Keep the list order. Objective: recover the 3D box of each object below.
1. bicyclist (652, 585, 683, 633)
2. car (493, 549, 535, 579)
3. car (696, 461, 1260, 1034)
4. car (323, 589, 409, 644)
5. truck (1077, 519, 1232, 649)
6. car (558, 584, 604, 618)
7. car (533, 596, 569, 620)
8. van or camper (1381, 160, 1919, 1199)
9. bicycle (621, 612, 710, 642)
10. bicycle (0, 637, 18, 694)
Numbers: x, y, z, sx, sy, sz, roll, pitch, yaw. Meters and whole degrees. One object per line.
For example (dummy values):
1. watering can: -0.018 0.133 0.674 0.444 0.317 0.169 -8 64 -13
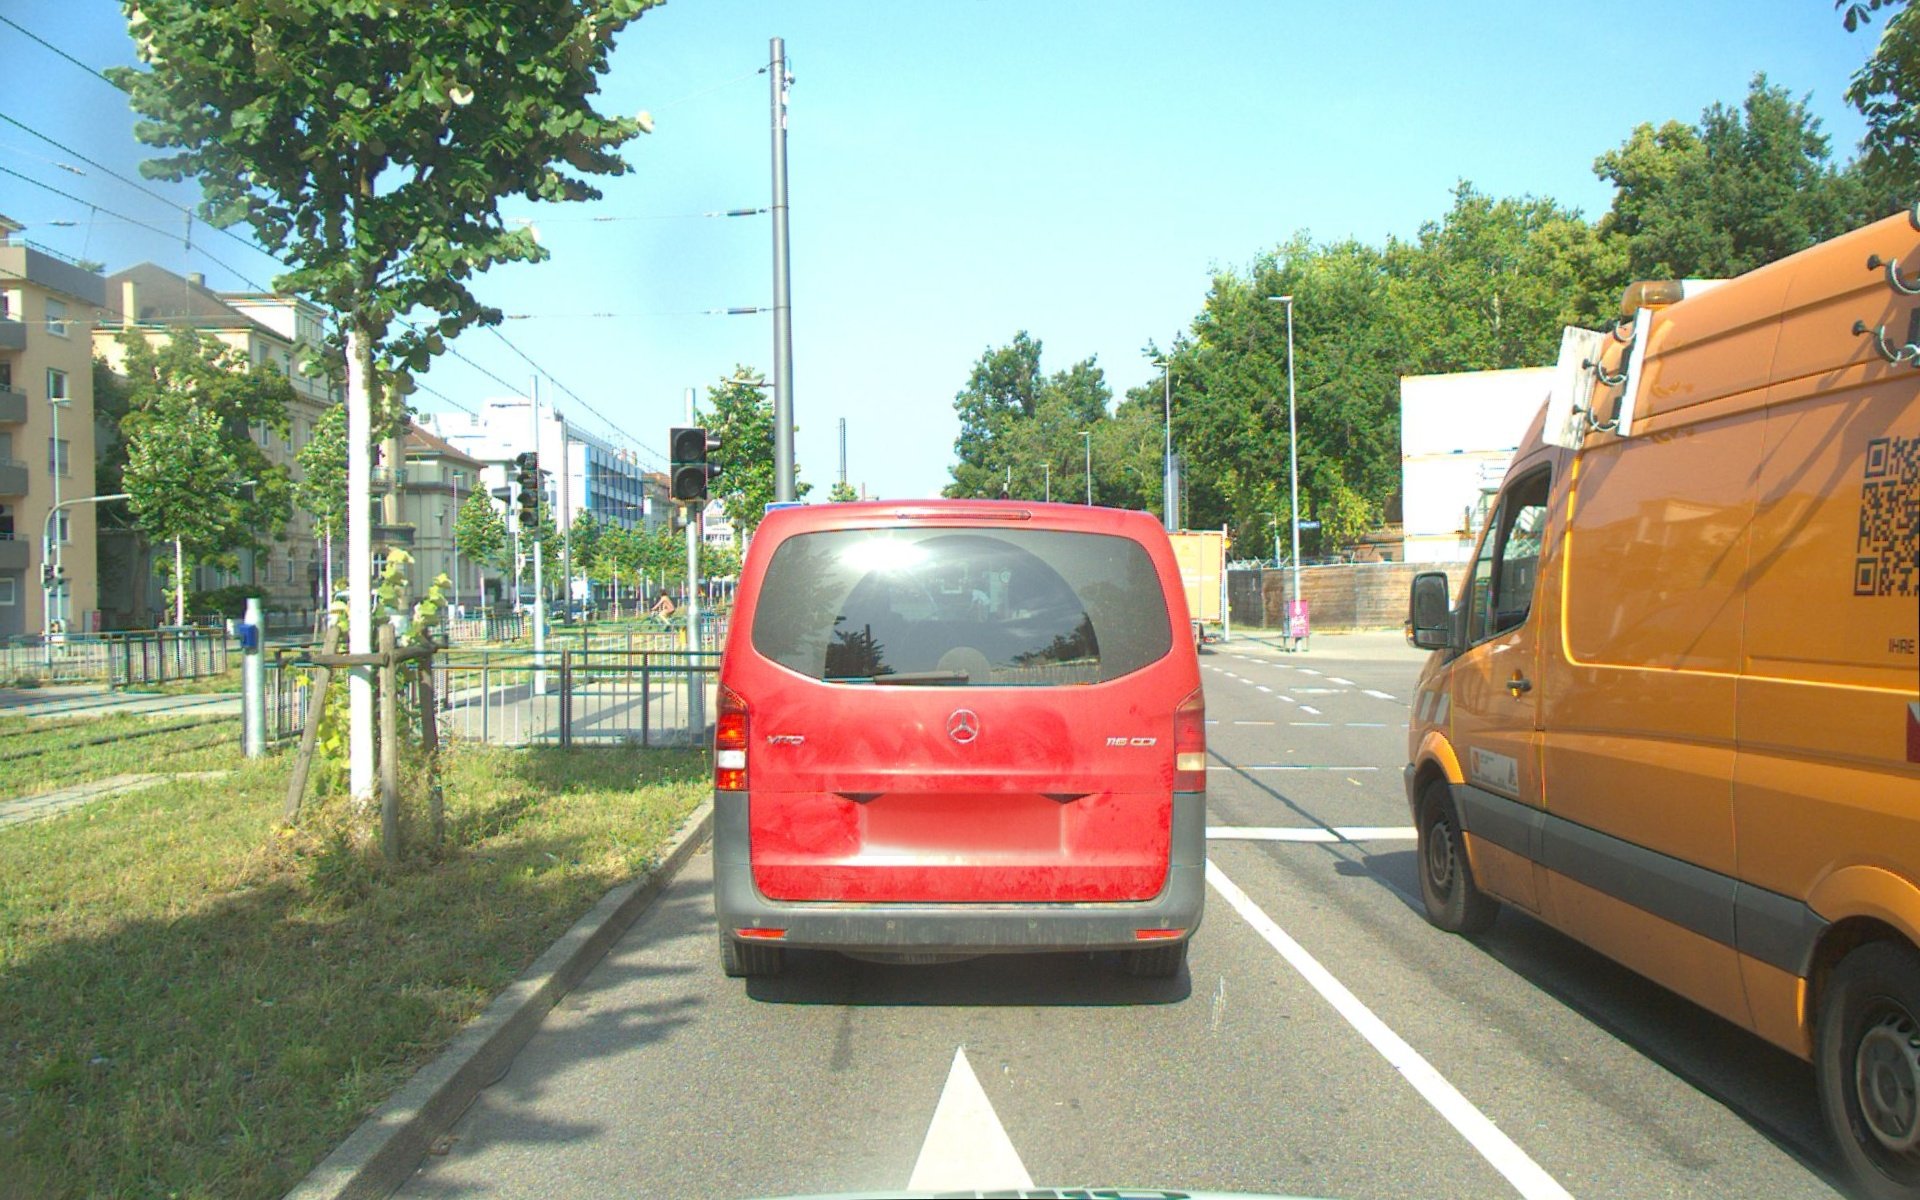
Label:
1. bicyclist: -10.295 0.314 58.240 0.871 1.657 0.893 -1 0 4
2. car: -35.371 -2.832 131.301 2.205 2.049 5.259 1 -2 -3
3. car: 0.035 0.487 7.524 1.862 1.892 3.999 1 0 -1
4. car: -25.918 0.664 72.333 2.005 2.278 5.332 -1 0 -2
5. truck: 5.044 -0.376 44.291 2.454 3.114 7.810 1 0 -6
6. car: -24.183 0.067 105.709 1.953 2.048 3.999 -3 0 -1
7. car: -30.474 0.552 123.341 1.707 1.702 3.999 -1 0 -1
8. van or camper: 3.192 0.242 5.496 1.945 2.515 6.060 0 0 -1
9. bicycle: -10.364 0.955 58.249 2.924 0.982 0.901 -1 0 5
10. bicycle: -17.342 1.190 28.923 1.574 0.951 0.558 -4 1 19
